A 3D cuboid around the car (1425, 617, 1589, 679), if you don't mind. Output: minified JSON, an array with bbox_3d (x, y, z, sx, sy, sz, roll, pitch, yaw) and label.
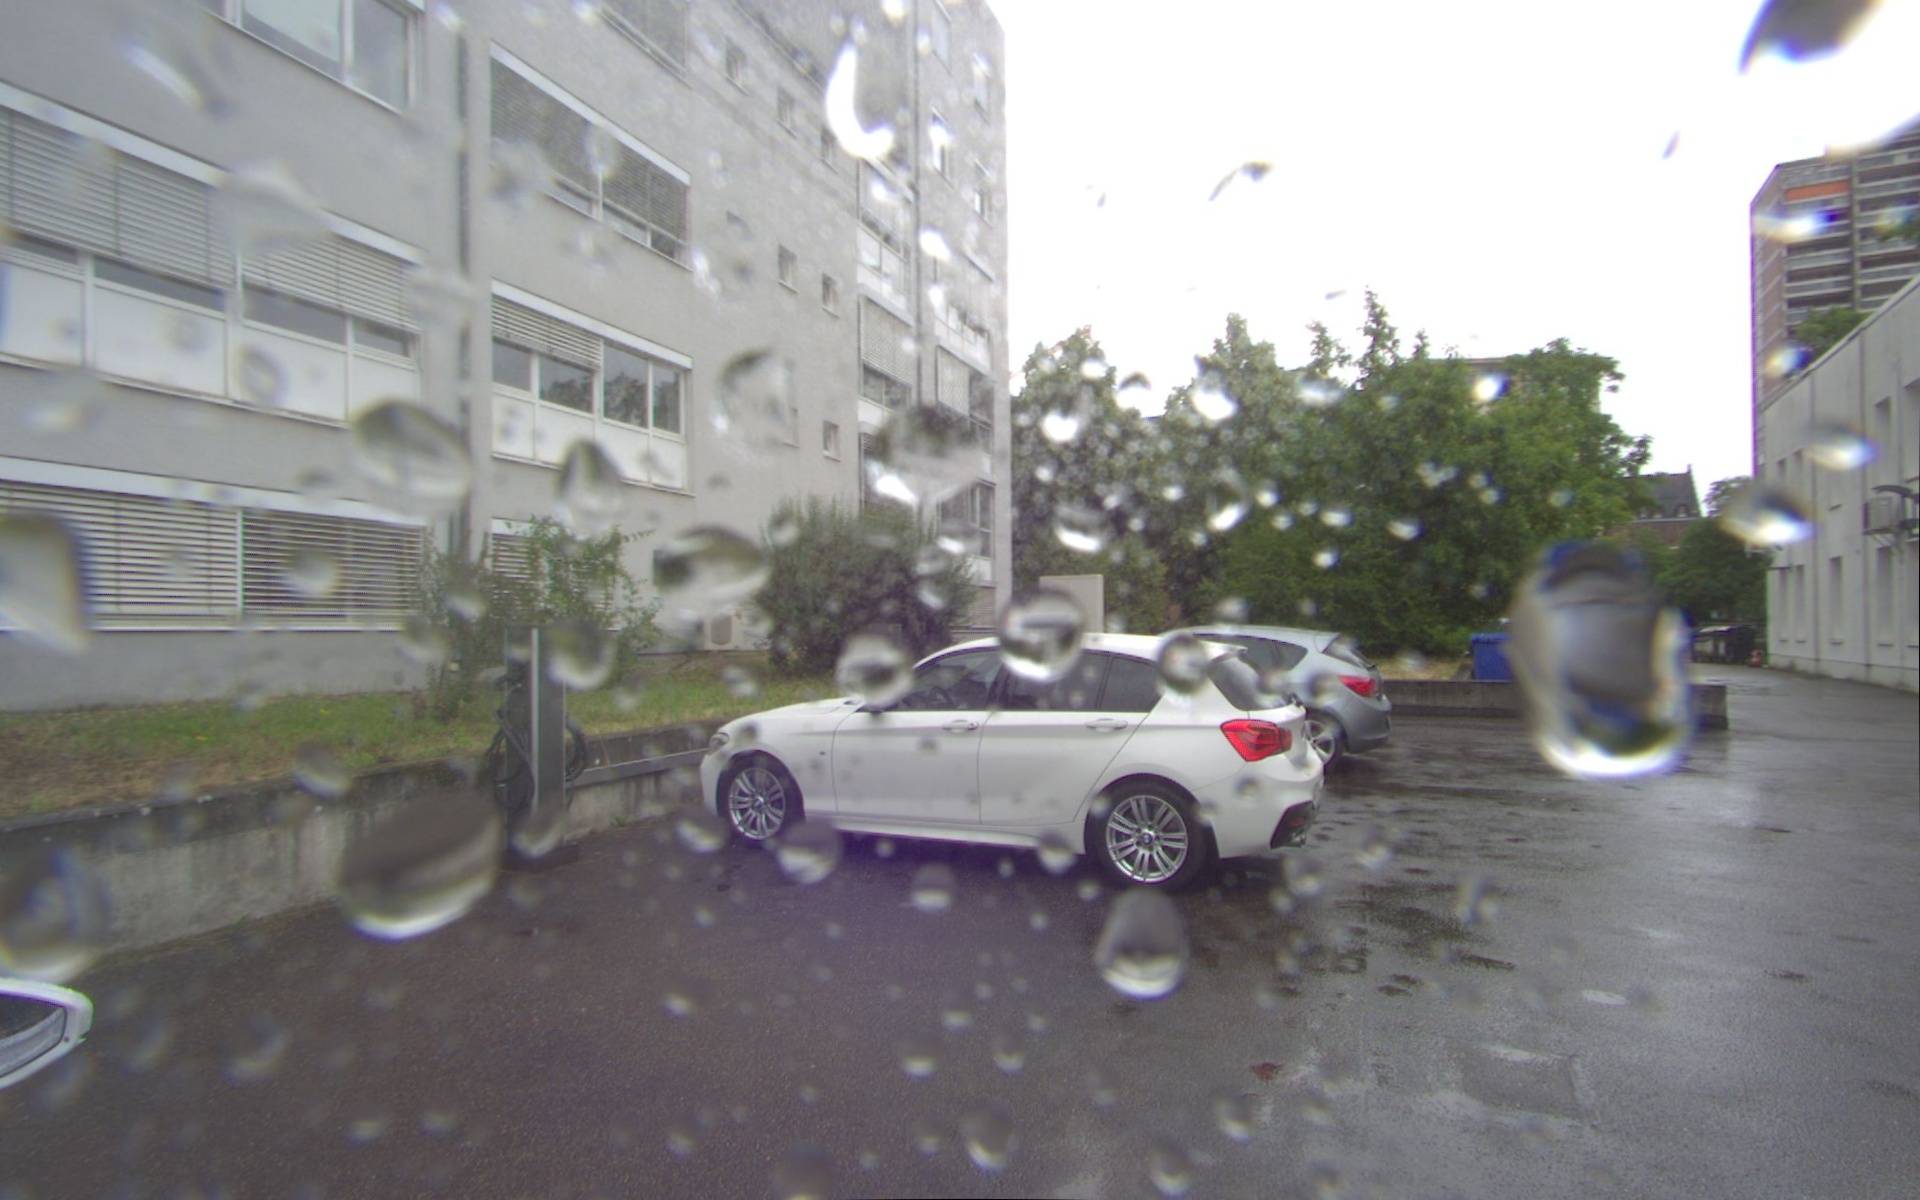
[{"bbox_3d":[18.197,1.672,33.461,4.630,1.904,2.115,-3,-5,31],"label":"car"}]

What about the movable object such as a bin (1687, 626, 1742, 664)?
[{"bbox_3d":[30.457,1.834,40.449,1.468,1.466,1.311,-2,-4,23],"label":"movable object such as a bin"}]

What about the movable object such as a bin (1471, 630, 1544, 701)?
[{"bbox_3d":[11.164,1.348,20.472,1.215,1.374,1.964,-2,-4,28],"label":"movable object such as a bin"}]

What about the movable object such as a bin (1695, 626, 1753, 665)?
[{"bbox_3d":[29.913,1.780,39.218,1.468,1.466,1.311,-2,-4,23],"label":"movable object such as a bin"}]

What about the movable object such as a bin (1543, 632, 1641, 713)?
[{"bbox_3d":[11.354,1.312,18.079,1.294,1.374,1.899,-2,-4,28],"label":"movable object such as a bin"}]

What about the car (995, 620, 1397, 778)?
[{"bbox_3d":[2.685,1.029,11.394,4.152,1.508,1.995,-1,-2,25],"label":"car"}]

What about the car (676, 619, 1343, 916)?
[{"bbox_3d":[0.350,0.932,6.891,4.152,1.508,1.995,-1,-2,25],"label":"car"}]

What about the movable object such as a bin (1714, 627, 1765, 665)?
[{"bbox_3d":[29.332,1.749,37.727,1.168,1.390,1.311,-2,-4,23],"label":"movable object such as a bin"}]

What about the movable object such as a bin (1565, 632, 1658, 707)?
[{"bbox_3d":[12.666,1.364,19.556,1.294,1.374,1.899,-2,-4,28],"label":"movable object such as a bin"}]

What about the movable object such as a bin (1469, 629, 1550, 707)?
[{"bbox_3d":[10.235,1.275,18.711,1.215,1.374,1.964,-2,-4,28],"label":"movable object such as a bin"}]
